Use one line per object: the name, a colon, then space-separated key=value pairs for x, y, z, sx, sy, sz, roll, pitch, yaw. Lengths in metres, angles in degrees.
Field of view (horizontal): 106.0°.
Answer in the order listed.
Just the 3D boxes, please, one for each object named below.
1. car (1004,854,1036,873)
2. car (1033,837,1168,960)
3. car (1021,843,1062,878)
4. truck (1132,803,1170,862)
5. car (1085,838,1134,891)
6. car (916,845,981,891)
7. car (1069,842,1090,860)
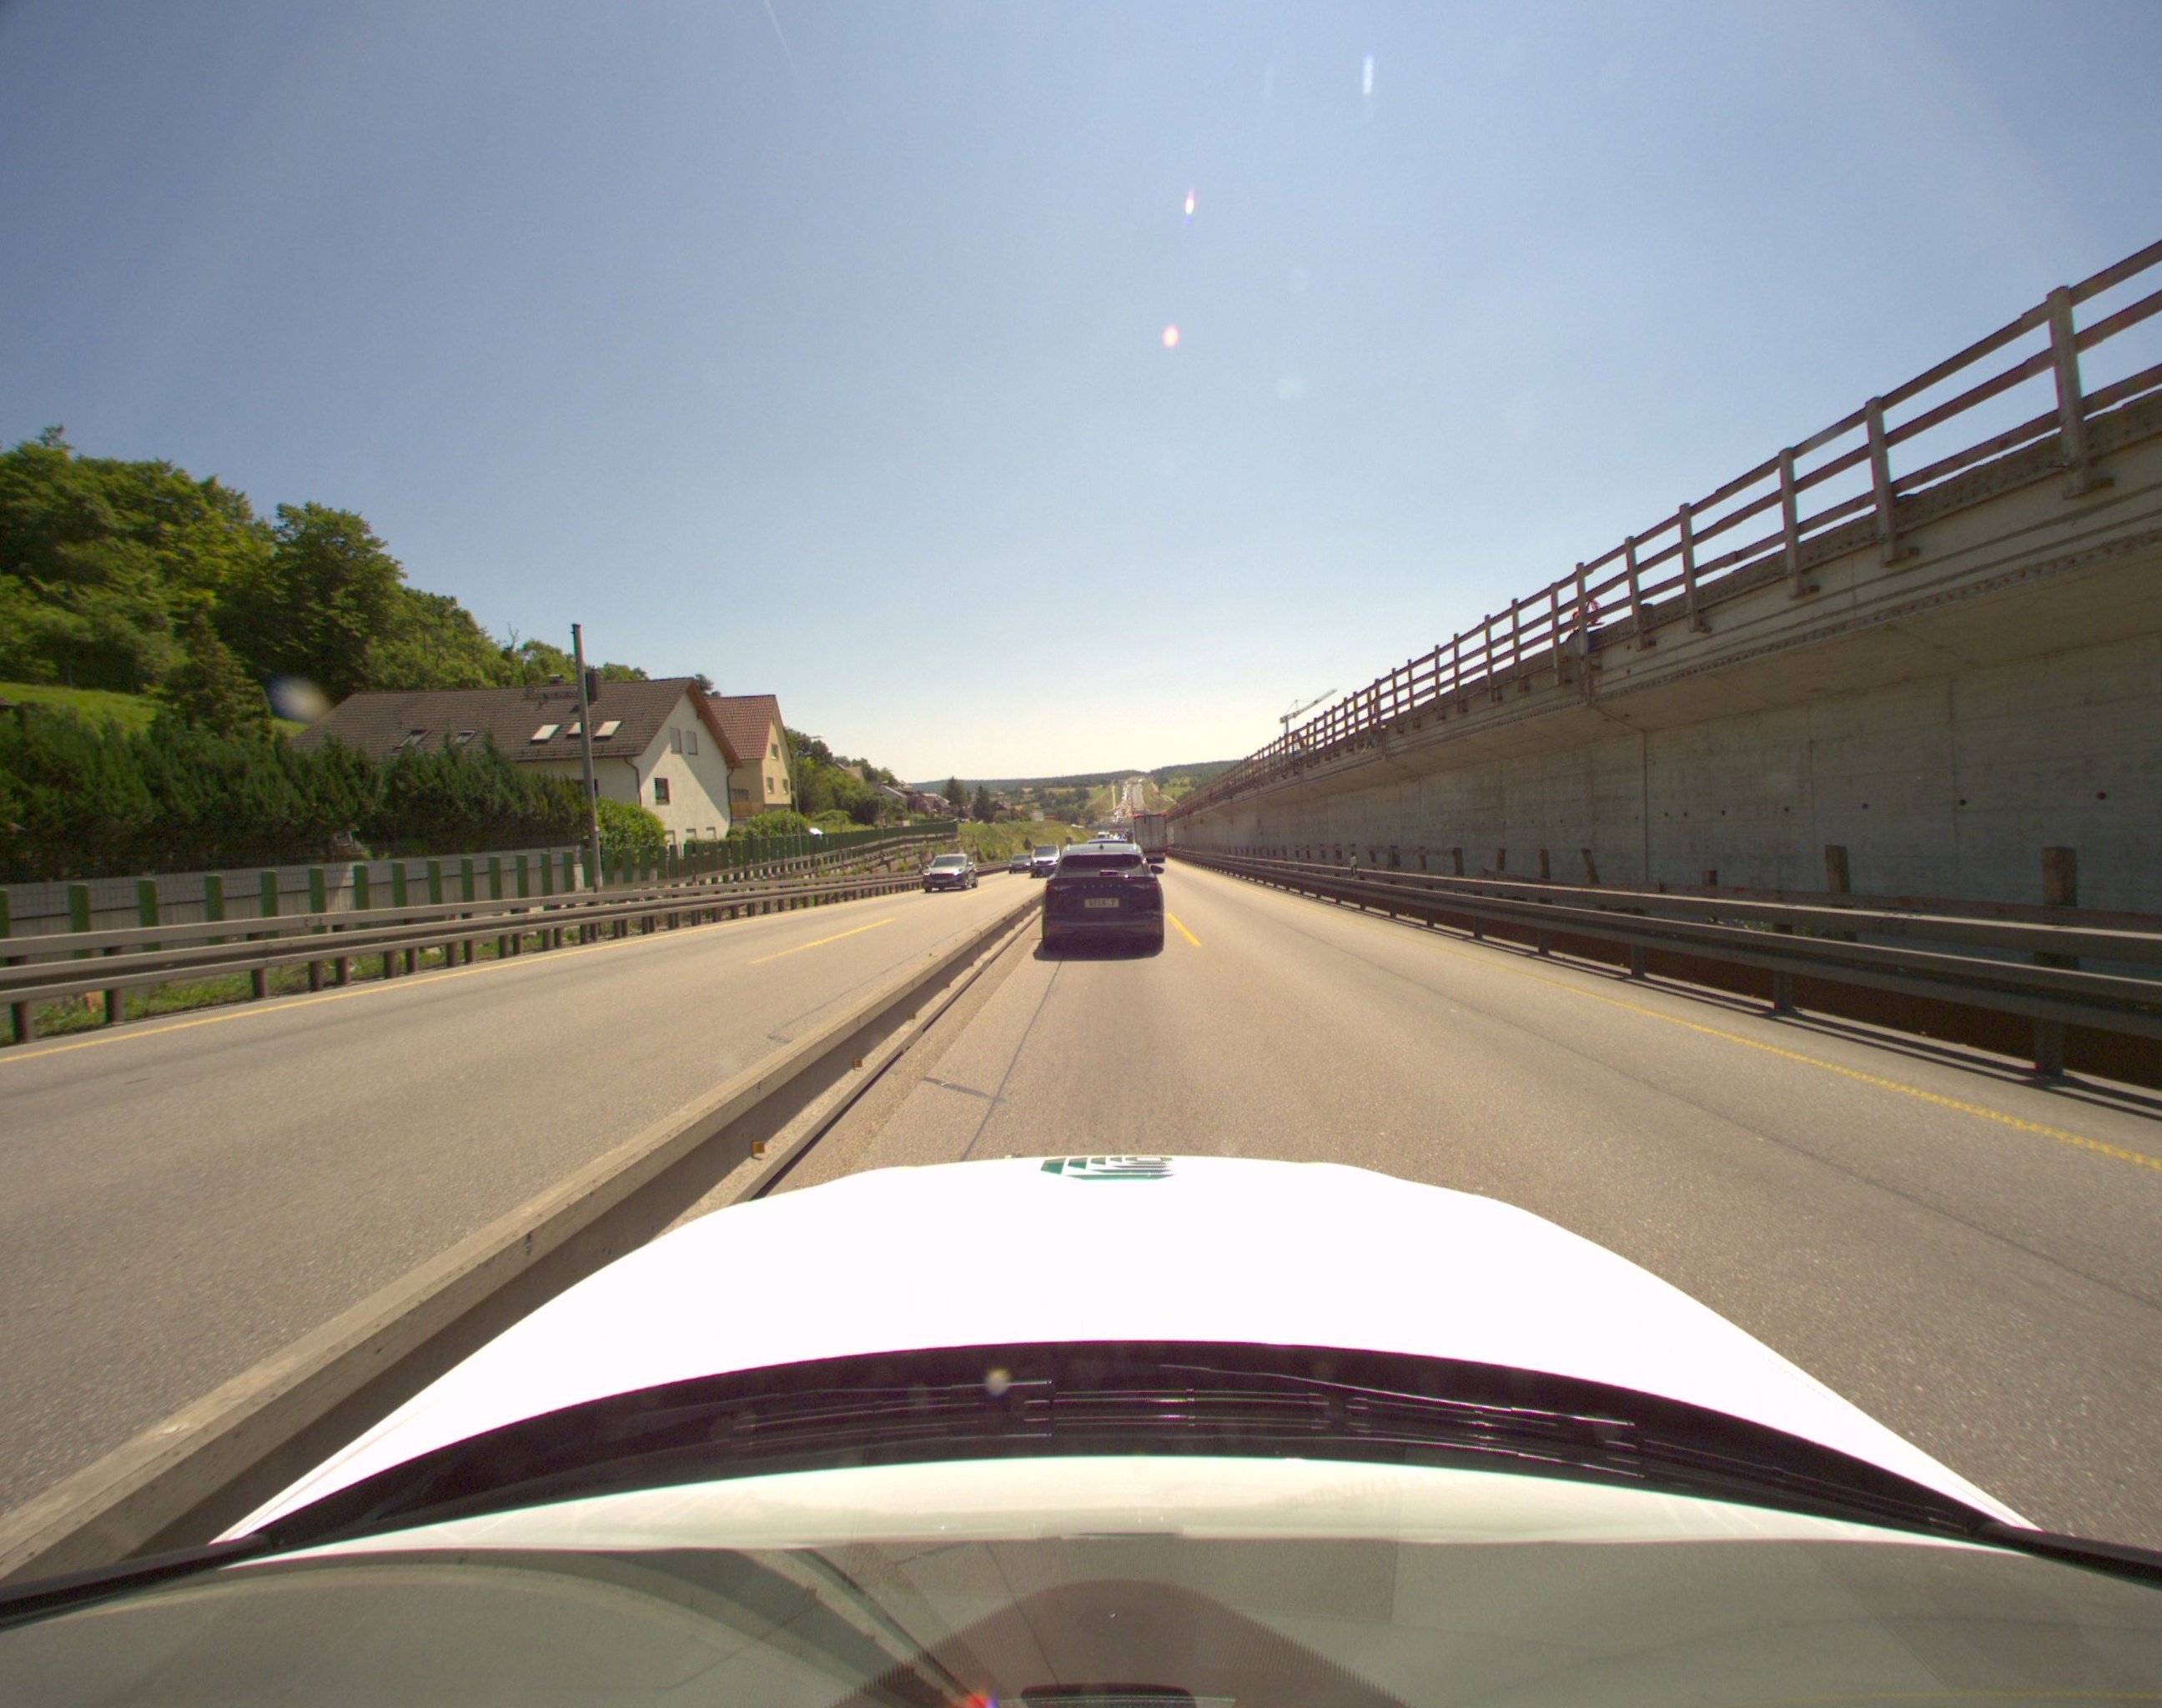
car: x=-4.671 y=0.722 z=62.712 sx=1.986 sy=1.442 sz=4.365 roll=0 pitch=0 yaw=1
car: x=0.331 y=0.602 z=13.180 sx=1.776 sy=1.597 sz=3.757 roll=-4 pitch=0 yaw=2
car: x=-2.410 y=0.387 z=50.772 sx=1.986 sy=2.013 sz=4.972 roll=-3 pitch=0 yaw=2
truck: x=6.028 y=-1.725 z=71.569 sx=2.834 sy=4.615 sz=11.822 roll=-3 pitch=0 yaw=3
car: x=1.050 y=0.362 z=31.497 sx=1.743 sy=1.895 sz=3.755 roll=-1 pitch=0 yaw=1
car: x=-5.872 y=0.608 z=36.582 sx=1.986 sy=1.827 sz=4.510 roll=-3 pitch=0 yaw=1
car: x=-0.119 y=-0.309 z=93.661 sx=2.149 sy=1.906 sz=5.329 roll=-2 pitch=0 yaw=2
